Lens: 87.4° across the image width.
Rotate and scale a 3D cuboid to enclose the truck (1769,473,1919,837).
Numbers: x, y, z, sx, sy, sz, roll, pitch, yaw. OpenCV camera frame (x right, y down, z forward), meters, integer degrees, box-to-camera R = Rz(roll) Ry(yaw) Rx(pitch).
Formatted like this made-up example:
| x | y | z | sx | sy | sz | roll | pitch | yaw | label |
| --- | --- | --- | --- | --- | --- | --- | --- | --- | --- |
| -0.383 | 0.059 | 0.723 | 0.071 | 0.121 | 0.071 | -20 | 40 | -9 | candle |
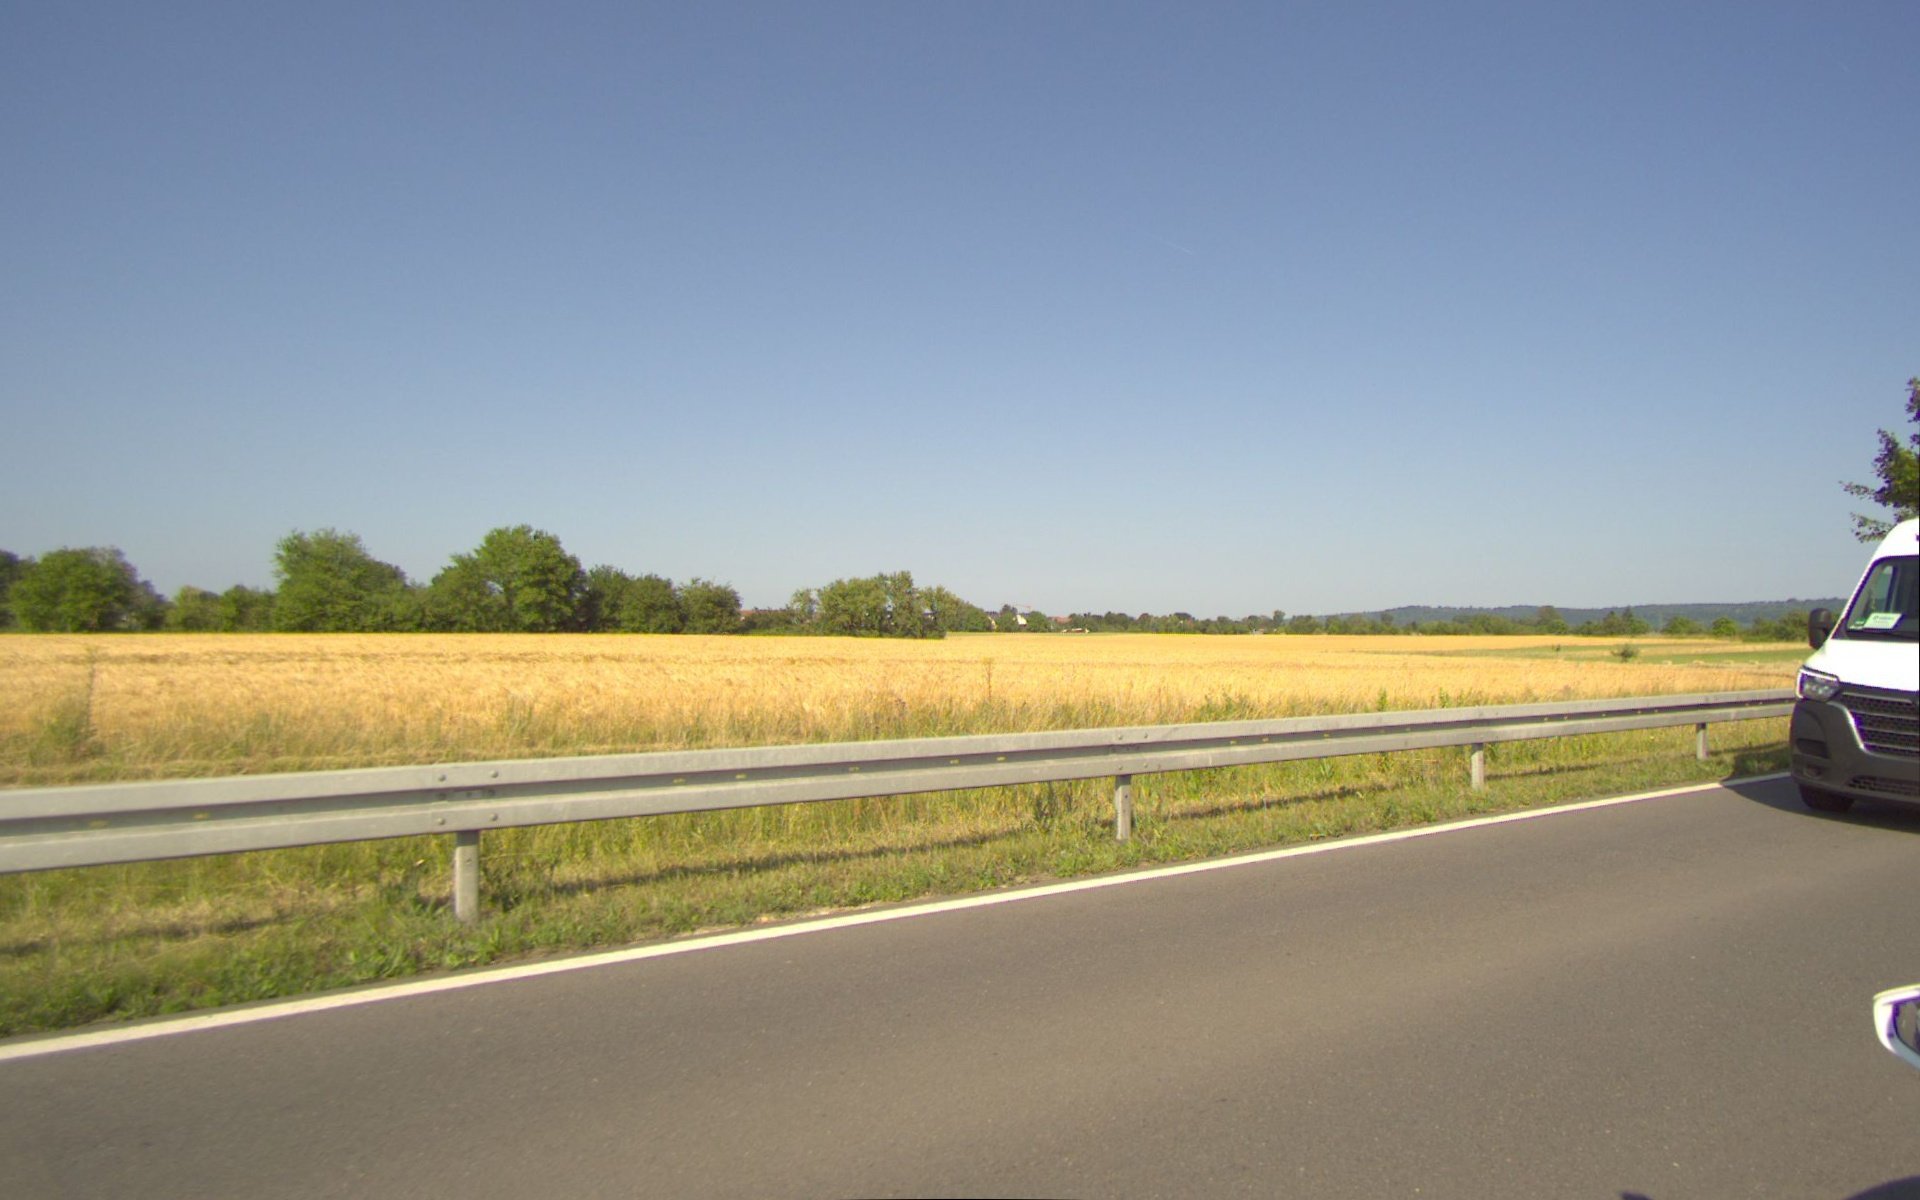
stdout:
| x | y | z | sx | sy | sz | roll | pitch | yaw | label |
| --- | --- | --- | --- | --- | --- | --- | --- | --- | --- |
| 9.453 | 0.438 | 8.522 | 6.170 | 2.553 | 1.984 | 1 | -1 | -30 | truck |
